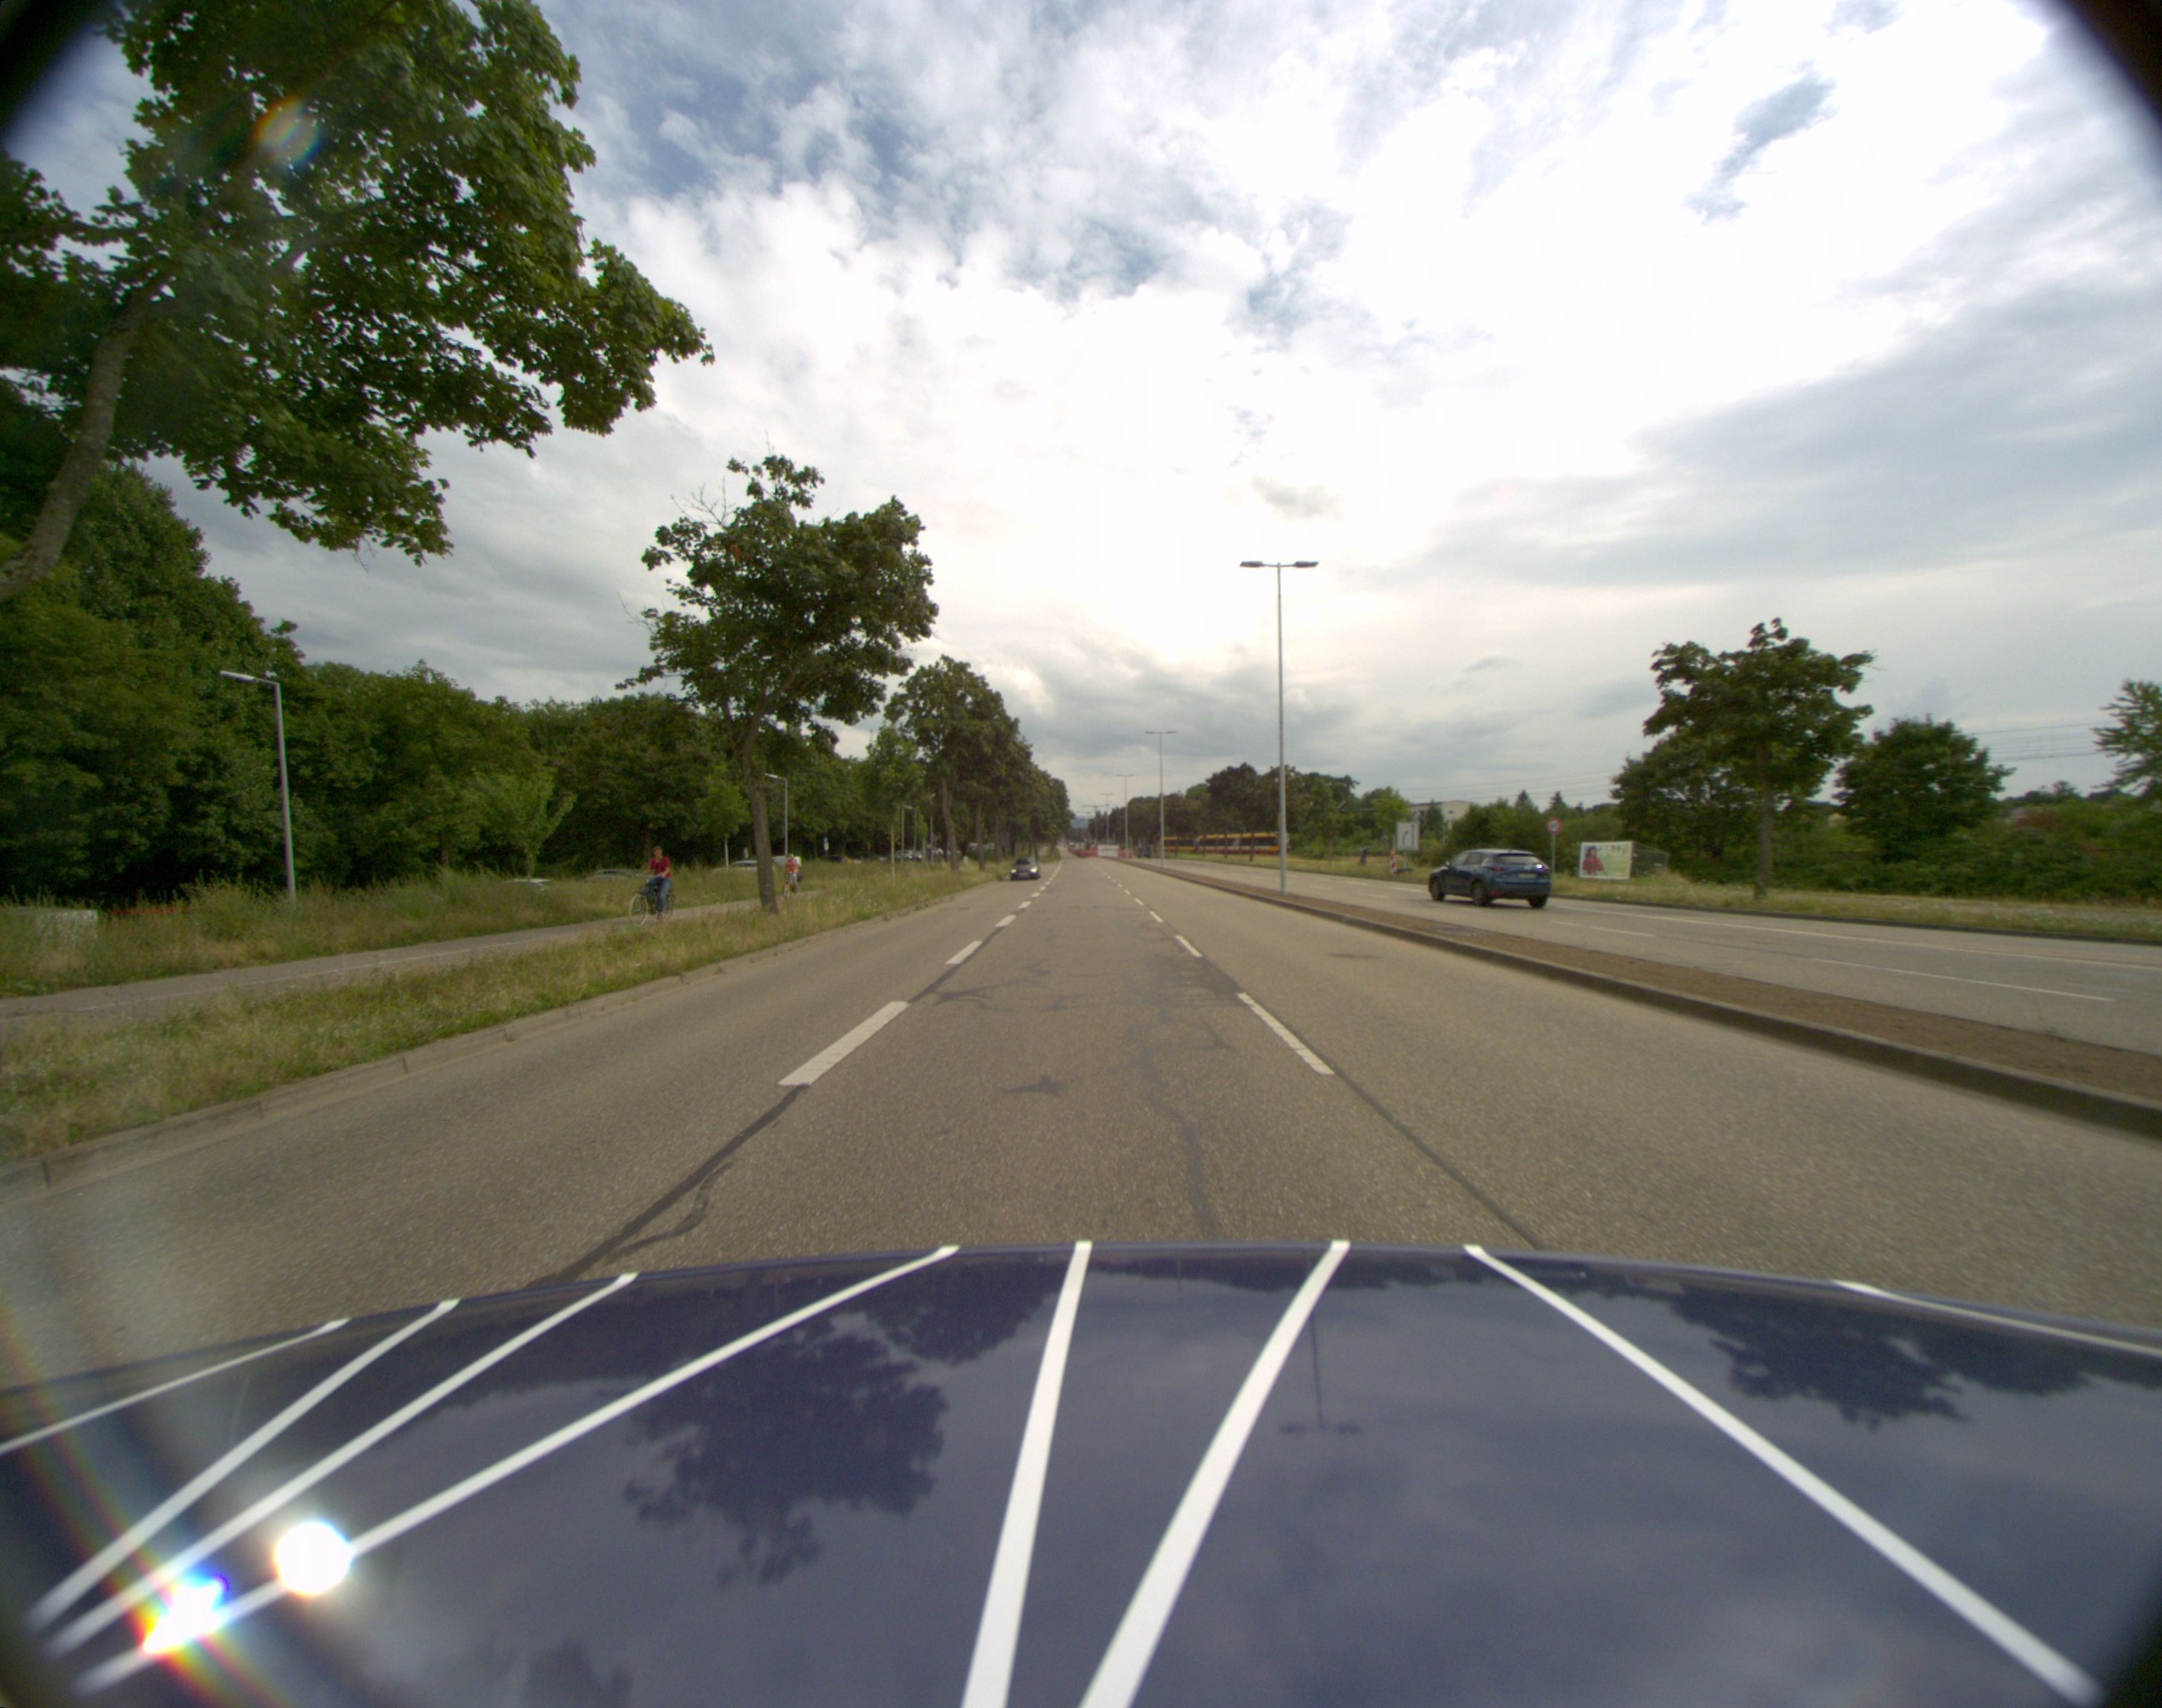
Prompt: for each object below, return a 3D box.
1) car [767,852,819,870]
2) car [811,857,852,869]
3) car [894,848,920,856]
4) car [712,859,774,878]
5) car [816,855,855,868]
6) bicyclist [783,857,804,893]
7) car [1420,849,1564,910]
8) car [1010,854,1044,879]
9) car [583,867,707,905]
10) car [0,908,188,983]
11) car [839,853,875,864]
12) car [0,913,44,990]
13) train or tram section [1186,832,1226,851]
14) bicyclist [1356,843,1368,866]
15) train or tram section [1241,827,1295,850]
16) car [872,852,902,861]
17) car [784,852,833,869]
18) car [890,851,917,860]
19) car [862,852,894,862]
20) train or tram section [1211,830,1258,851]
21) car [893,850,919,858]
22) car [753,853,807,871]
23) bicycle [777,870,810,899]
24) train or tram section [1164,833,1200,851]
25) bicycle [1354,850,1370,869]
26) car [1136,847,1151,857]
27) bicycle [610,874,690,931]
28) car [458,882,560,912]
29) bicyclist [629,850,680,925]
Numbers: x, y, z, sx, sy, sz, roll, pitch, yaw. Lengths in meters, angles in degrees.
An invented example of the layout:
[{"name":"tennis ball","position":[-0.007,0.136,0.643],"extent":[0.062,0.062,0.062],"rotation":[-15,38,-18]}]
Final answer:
[{"name":"car","position":[-26.054,0.631,68.887],"extent":[3.998,1.576,1.803],"rotation":[0,1,-2]},{"name":"car","position":[-27.521,0.992,83.924],"extent":[3.999,1.358,1.618],"rotation":[0,1,-5]},{"name":"car","position":[-29.007,-0.360,126.593],"extent":[3.999,1.358,1.618],"rotation":[0,1,-5]},{"name":"car","position":[-25.851,1.108,58.262],"extent":[3.999,1.435,1.650],"rotation":[0,1,-5]},{"name":"car","position":[-28.034,0.853,86.760],"extent":[3.999,1.358,1.618],"rotation":[0,1,-5]},{"name":"bicyclist","position":[-10.521,0.766,27.802],"extent":[0.540,1.275,0.450],"rotation":[-2,1,0]},{"name":"car","position":[12.123,0.662,22.802],"extent":[1.852,1.644,4.564],"rotation":[0,1,0]},{"name":"car","position":[-3.419,0.783,48.794],"extent":[1.772,1.439,4.323],"rotation":[-1,0,0]},{"name":"car","position":[-16.599,1.198,29.075],"extent":[3.811,1.368,1.536],"rotation":[0,1,-5]},{"name":"car","position":[-27.326,2.426,20.521],"extent":[3.997,1.783,2.000],"rotation":[0,1,-1]},{"name":"car","position":[-27.562,0.512,93.682],"extent":[3.999,1.358,1.618],"rotation":[0,1,-5]},{"name":"car","position":[-27.929,2.376,17.962],"extent":[3.997,1.783,2.000],"rotation":[0,1,-1]},{"name":"train or tram section","position":[23.462,-2.350,143.510],"extent":[2.924,3.402,11.931],"rotation":[-2,1,-14]},{"name":"bicyclist","position":[22.406,0.022,60.486],"extent":[0.645,1.821,0.819],"rotation":[0,1,0]},{"name":"train or tram section","position":[29.366,-2.398,120.247],"extent":[2.924,3.402,11.931],"rotation":[-2,1,-14]},{"name":"car","position":[-28.211,0.393,110.700],"extent":[3.999,1.358,1.618],"rotation":[0,1,-5]},{"name":"car","position":[-25.490,0.575,71.179],"extent":[3.998,1.576,1.803],"rotation":[0,1,-2]},{"name":"car","position":[-28.280,0.242,120.852],"extent":[3.999,1.358,1.618],"rotation":[0,1,-5]},{"name":"car","position":[-27.497,0.417,103.140],"extent":[3.999,1.358,1.618],"rotation":[0,1,-5]},{"name":"train or tram section","position":[26.442,-2.305,131.856],"extent":[2.924,3.402,11.931],"rotation":[-2,1,-15]},{"name":"car","position":[-28.490,0.020,123.711],"extent":[3.999,1.358,1.618],"rotation":[0,1,-5]},{"name":"car","position":[-25.929,0.695,65.542],"extent":[3.999,1.547,1.650],"rotation":[0,1,-5]},{"name":"bicycle","position":[-10.509,1.100,27.825],"extent":[0.515,0.958,1.782],"rotation":[0,1,0]},{"name":"train or tram section","position":[20.498,-2.397,155.200],"extent":[2.924,3.402,11.931],"rotation":[-2,1,-14]},{"name":"bicycle","position":[22.395,0.429,60.579],"extent":[0.537,1.414,2.166],"rotation":[1,1,1]},{"name":"car","position":[10.207,-0.380,123.451],"extent":[1.852,1.644,4.257],"rotation":[0,1,-3]},{"name":"bicycle","position":[-9.729,1.064,17.257],"extent":[0.515,1.141,2.231],"rotation":[0,1,0]},{"name":"car","position":[-25.529,1.910,33.988],"extent":[3.448,1.184,1.357],"rotation":[-1,0,-5]},{"name":"bicyclist","position":[-9.726,0.745,17.353],"extent":[0.653,1.648,0.781],"rotation":[-2,1,0]}]
